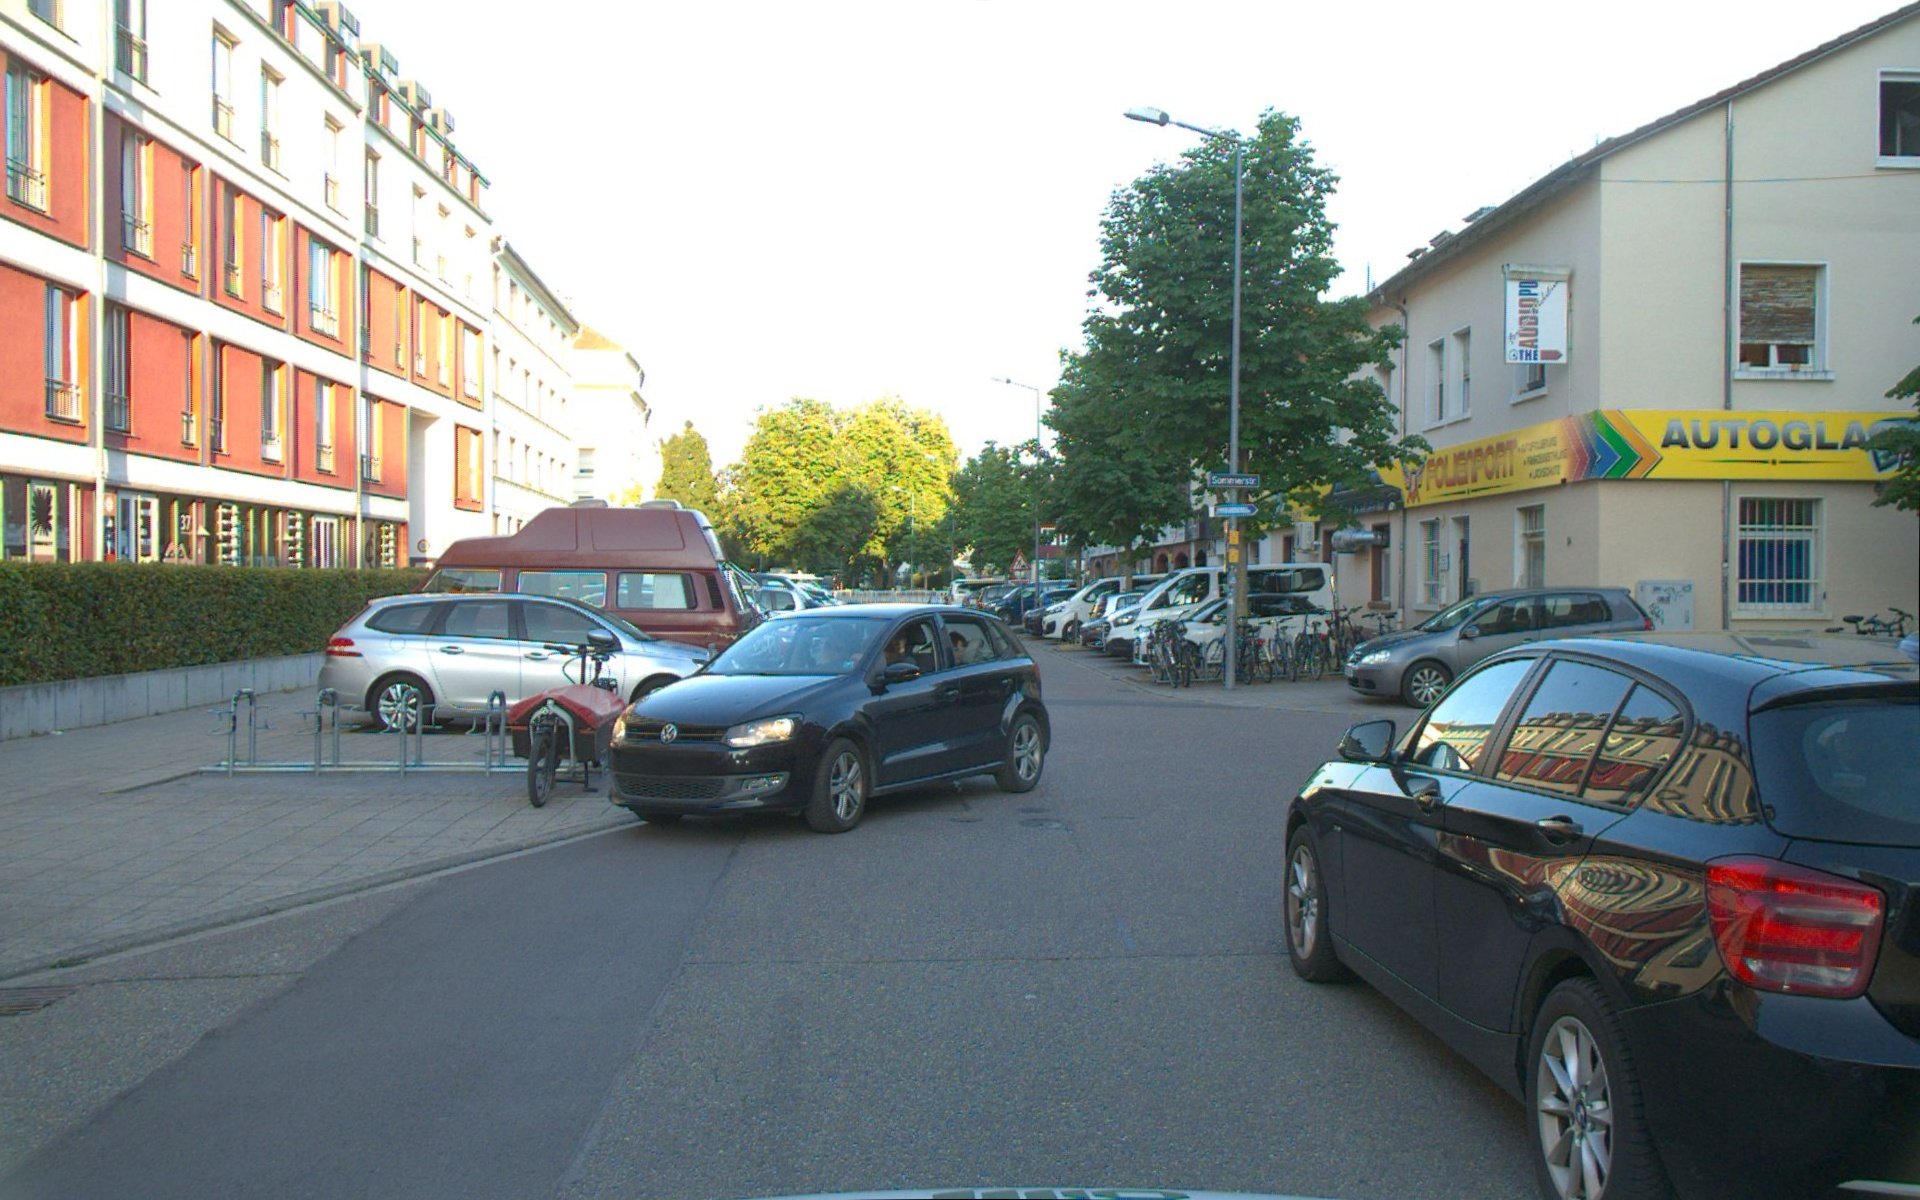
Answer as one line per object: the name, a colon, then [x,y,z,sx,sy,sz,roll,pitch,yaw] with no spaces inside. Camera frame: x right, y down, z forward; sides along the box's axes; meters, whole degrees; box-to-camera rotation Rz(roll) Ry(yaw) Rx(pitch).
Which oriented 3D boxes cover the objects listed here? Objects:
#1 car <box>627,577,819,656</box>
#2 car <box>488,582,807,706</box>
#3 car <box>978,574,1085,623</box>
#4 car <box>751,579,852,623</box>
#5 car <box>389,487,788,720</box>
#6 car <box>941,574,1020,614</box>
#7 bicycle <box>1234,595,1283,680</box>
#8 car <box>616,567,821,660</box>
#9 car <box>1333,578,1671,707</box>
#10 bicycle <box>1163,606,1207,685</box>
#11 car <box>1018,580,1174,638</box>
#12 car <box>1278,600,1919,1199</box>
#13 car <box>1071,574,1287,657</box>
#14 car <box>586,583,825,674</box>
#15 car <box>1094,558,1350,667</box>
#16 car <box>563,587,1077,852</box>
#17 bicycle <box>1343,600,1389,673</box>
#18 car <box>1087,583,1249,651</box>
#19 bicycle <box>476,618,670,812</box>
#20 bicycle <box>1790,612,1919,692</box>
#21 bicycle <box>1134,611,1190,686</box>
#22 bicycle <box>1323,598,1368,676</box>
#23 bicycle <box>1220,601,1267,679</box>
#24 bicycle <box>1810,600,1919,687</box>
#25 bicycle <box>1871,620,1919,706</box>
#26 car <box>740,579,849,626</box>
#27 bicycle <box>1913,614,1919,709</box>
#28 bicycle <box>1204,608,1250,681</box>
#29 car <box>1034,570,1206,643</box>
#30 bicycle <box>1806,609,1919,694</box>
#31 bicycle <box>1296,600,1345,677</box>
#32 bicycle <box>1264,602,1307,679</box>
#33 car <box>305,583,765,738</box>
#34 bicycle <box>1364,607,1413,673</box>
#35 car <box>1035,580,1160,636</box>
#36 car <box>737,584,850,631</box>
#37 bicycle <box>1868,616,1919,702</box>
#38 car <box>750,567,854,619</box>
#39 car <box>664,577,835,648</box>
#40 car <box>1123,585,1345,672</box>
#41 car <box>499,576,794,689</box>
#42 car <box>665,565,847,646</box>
car: [-5.459,0.367,38.540,4.171,1.689,1.999,1,0,-2]
car: [-4.264,0.584,23.072,4.125,1.565,1.790,1,0,-4]
car: [3.080,-0.068,71.987,4.393,1.945,1.685,-2,0,-7]
car: [-6.801,0.033,71.283,4.171,1.780,1.999,1,0,-2]
car: [-4.483,0.030,20.494,4.419,2.629,2.000,1,0,0]
car: [1.066,-0.311,87.389,3.892,1.945,2.046,-2,0,-7]
bicycle: [4.936,0.596,27.397,0.378,1.327,2.017,-1,1,-1]
car: [-5.207,0.278,36.074,4.171,1.868,1.999,1,0,-2]
car: [7.227,0.539,22.309,3.968,1.540,1.756,-1,2,-1]
bicycle: [3.706,0.724,27.334,0.378,1.221,2.017,-1,1,-1]
car: [4.433,0.280,54.408,4.846,1.718,2.076,-2,0,-3]
car: [2.291,0.764,5.028,1.687,1.449,4.252,1,0,-2]
car: [5.194,0.347,39.642,4.844,1.772,2.049,-2,0,-1]
car: [-4.651,0.506,30.670,4.124,1.516,1.849,1,0,-1]
car: [5.356,0.238,34.324,4.889,2.018,2.219,-2,0,-1]
car: [-0.786,0.672,11.617,1.622,1.480,3.933,0,1,31]
bicycle: [6.692,0.587,27.330,0.346,1.163,1.481,-1,0,-1]
car: [5.271,0.415,42.301,3.832,1.552,1.939,-2,0,-1]
bicycle: [-2.881,0.798,12.667,0.791,1.242,2.865,1,0,0]
bicycle: [12.273,0.714,22.698,1.570,1.037,0.343,1,2,-3]
bicycle: [3.303,0.771,27.136,0.430,1.150,2.014,-1,1,-7]
bicycle: [6.340,0.589,27.239,0.346,1.221,1.481,-1,0,-1]
bicycle: [4.680,0.641,27.381,0.378,1.221,2.017,-1,1,-1]
bicycle: [12.969,0.617,23.241,1.822,1.169,0.343,1,2,-1]
bicycle: [12.395,0.795,20.610,1.812,1.027,0.428,1,3,-1]
car: [-6.611,0.091,66.516,4.171,1.744,1.999,1,0,-2]
bicycle: [12.510,0.758,19.973,1.883,1.148,0.427,1,1,-10]
bicycle: [4.401,0.714,27.387,0.378,1.133,2.017,-1,1,-1]
car: [4.758,0.175,49.618,4.846,1.992,2.048,-2,0,-3]
bicycle: [12.380,0.696,22.352,1.696,1.088,0.343,1,2,-3]
bicycle: [5.920,0.616,27.236,0.436,1.221,1.481,-1,0,-1]
bicycle: [5.353,0.648,27.253,0.378,1.221,1.481,-1,0,-1]
car: [-4.447,0.624,17.919,4.525,1.485,1.879,1,0,-5]
bicycle: [7.088,0.652,27.387,0.380,1.035,1.481,-1,0,-1]
car: [4.905,0.260,59.329,4.231,1.835,1.810,-2,0,-3]
car: [-6.369,0.274,63.782,4.171,1.650,1.999,1,0,-3]
bicycle: [12.503,0.758,21.140,1.569,1.059,0.343,1,2,-1]
car: [-7.017,-0.296,73.913,4.442,2.171,1.999,1,0,-2]
car: [-5.404,0.311,42.898,4.171,1.681,1.887,1,0,-2]
car: [5.170,0.518,31.533,3.841,1.476,1.767,-2,1,-4]
car: [-4.788,0.479,25.623,4.120,1.565,1.843,2,0,4]
car: [-5.549,0.138,45.448,4.753,2.056,1.906,1,0,-2]
